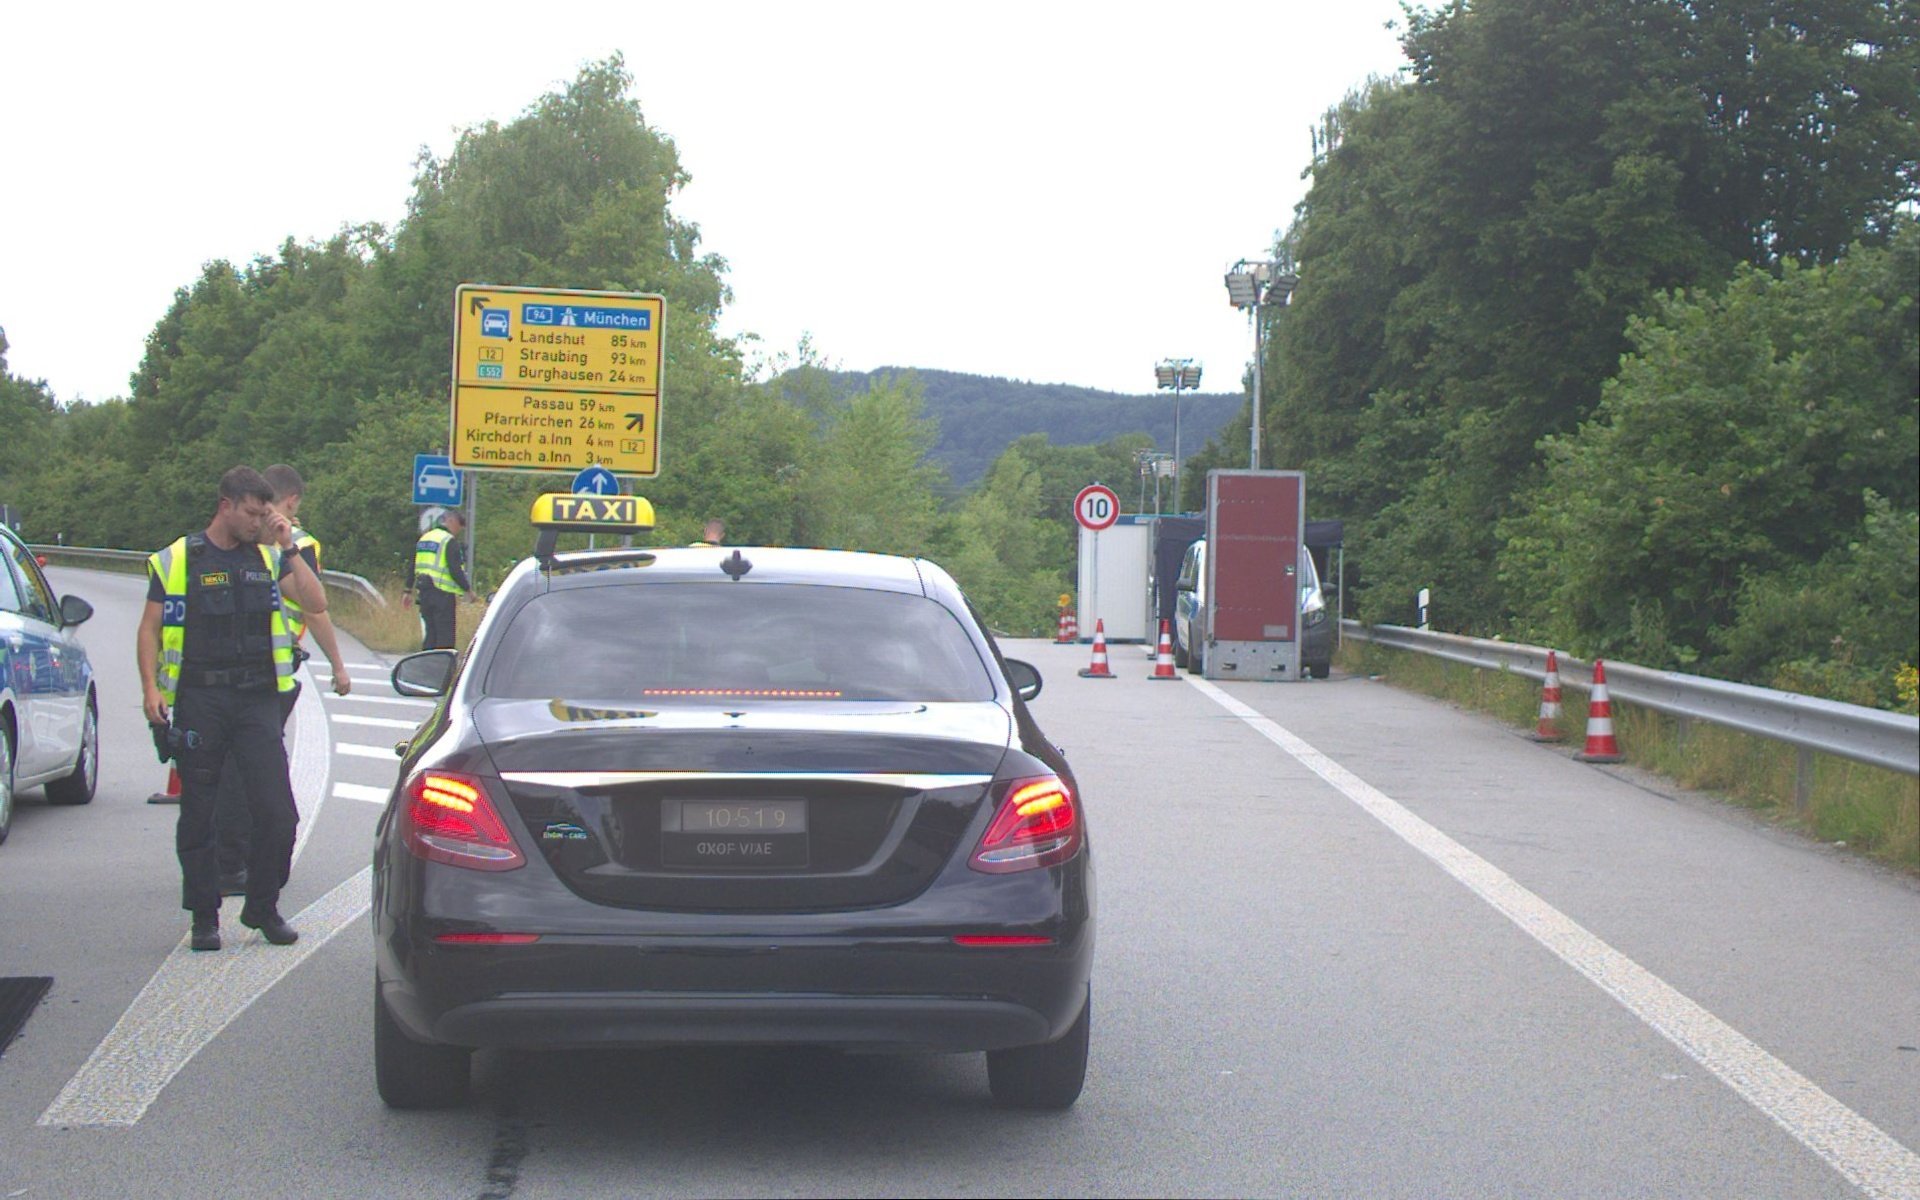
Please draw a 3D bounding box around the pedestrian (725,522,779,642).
[{"bbox_3d":[-3.430,-0.306,56.700,0.664,1.954,0.759,1,1,15],"label":"pedestrian"}]

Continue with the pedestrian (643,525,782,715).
[{"bbox_3d":[-2.245,0.174,31.189,0.908,1.692,0.914,1,1,-32],"label":"pedestrian"}]

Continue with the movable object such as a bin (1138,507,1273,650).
[{"bbox_3d":[4.051,-0.376,57.274,1.993,2.272,4.168,1,1,1],"label":"movable object such as a bin"}]

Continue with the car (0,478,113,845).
[{"bbox_3d":[-5.588,0.260,17.506,1.868,1.737,4.009,1,1,-5],"label":"car"}]

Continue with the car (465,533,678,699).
[{"bbox_3d":[-3.701,0.107,33.340,1.855,1.493,4.257,1,1,-4],"label":"car"}]

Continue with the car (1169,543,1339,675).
[{"bbox_3d":[4.080,0.071,48.436,1.916,1.672,5.083,3,1,0],"label":"car"}]

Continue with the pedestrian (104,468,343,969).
[{"bbox_3d":[-2.634,0.399,12.243,0.760,1.712,0.818,0,1,-17],"label":"pedestrian"}]

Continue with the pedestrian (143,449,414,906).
[{"bbox_3d":[-2.808,0.301,14.219,0.813,1.824,0.809,1,1,16],"label":"pedestrian"}]

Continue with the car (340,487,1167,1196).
[{"bbox_3d":[-0.680,0.509,9.968,1.855,1.589,4.376,1,1,-6],"label":"car"}]

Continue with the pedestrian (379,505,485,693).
[{"bbox_3d":[-5.053,-0.018,32.848,0.910,1.763,0.912,1,1,-13],"label":"pedestrian"}]
